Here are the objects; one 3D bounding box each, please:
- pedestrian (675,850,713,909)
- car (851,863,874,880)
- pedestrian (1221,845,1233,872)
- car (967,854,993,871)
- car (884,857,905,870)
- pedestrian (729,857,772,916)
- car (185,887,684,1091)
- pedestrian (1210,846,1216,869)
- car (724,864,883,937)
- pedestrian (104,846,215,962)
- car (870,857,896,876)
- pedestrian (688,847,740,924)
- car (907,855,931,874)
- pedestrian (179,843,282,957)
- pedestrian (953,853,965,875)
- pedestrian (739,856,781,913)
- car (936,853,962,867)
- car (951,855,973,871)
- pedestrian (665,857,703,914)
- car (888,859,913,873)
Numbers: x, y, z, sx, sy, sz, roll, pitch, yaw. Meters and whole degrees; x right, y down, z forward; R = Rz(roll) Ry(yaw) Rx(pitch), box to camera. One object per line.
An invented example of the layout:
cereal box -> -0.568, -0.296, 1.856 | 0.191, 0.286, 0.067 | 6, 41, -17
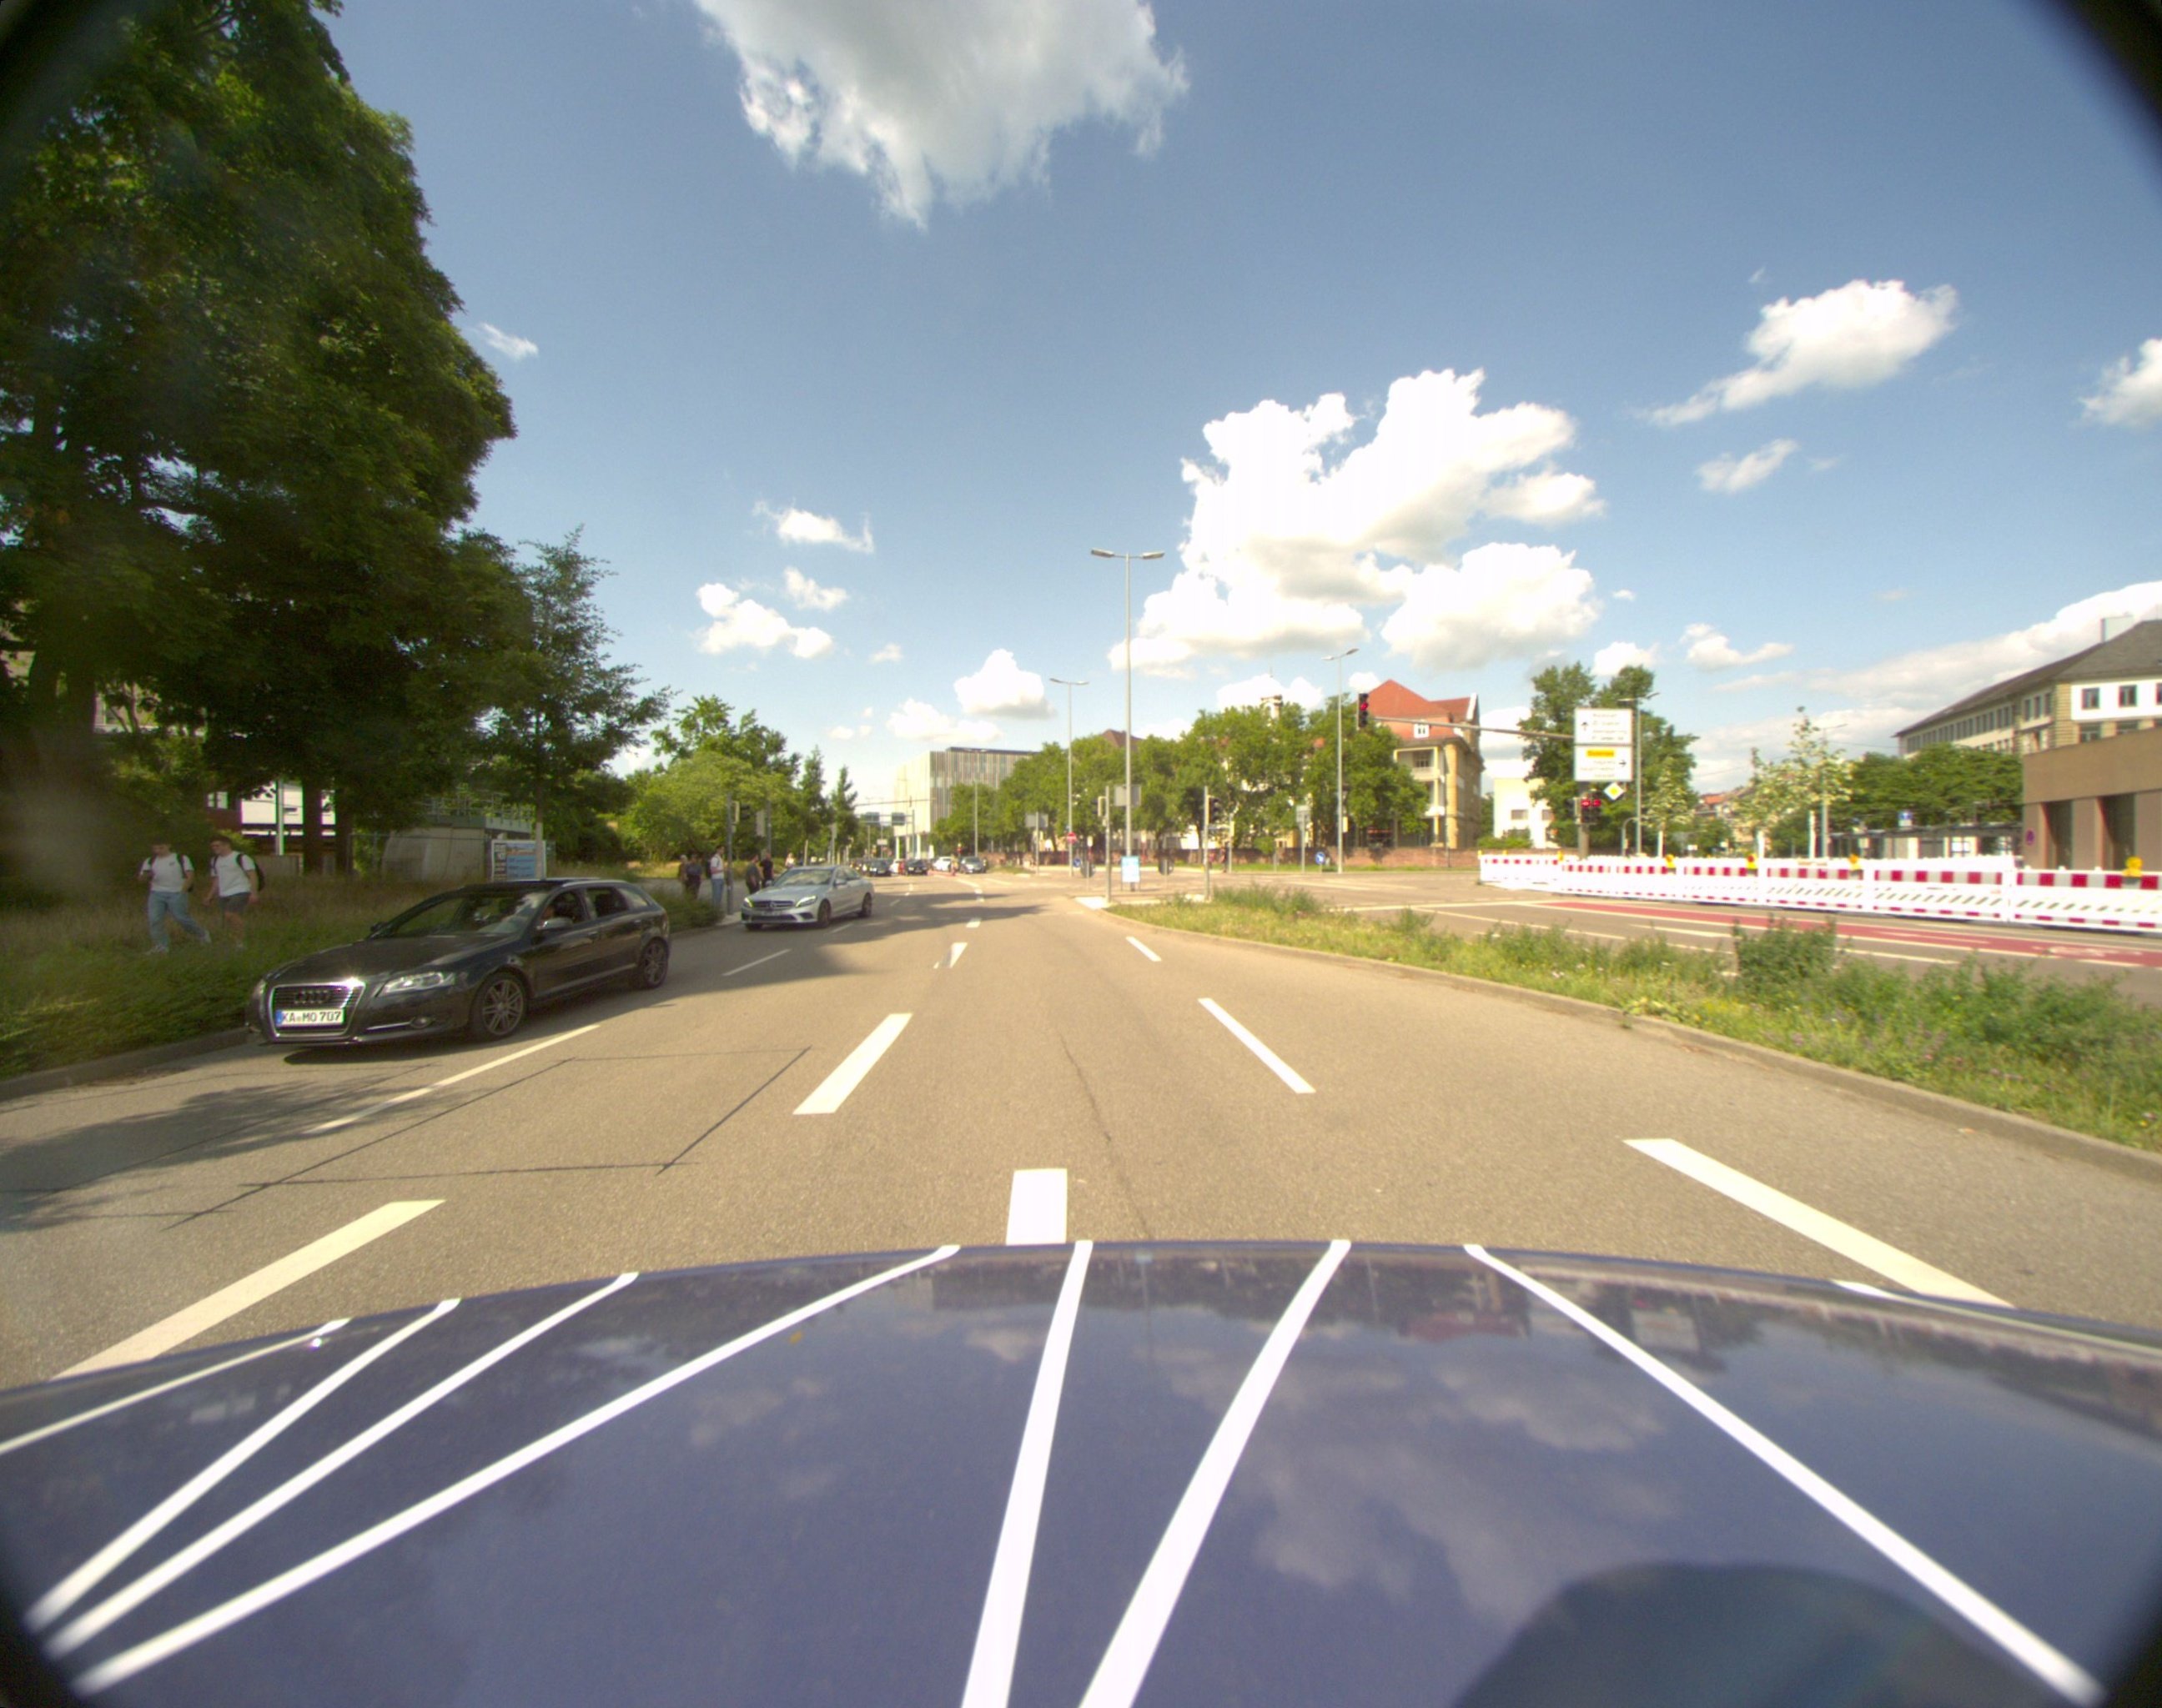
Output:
pedestrian -> -11.663, 0.751, 22.918 | 0.768, 1.725, 0.718 | -2, 1, -8
car -> -19.749, 1.565, 68.799 | 1.827, 1.454, 3.995 | -1, 0, -13
pedestrian -> 11.145, 0.347, 57.841 | 0.582, 1.982, 0.621 | -3, 1, -27
car -> -8.727, 0.706, 65.287 | 2.000, 1.368, 4.265 | -2, 1, -10
car -> -18.409, 0.929, 75.112 | 1.911, 1.127, 4.096 | -1, 2, -13
pedestrian -> -10.066, 0.971, 23.163 | 0.928, 1.725, 0.768 | -2, 1, -2
car -> -6.144, 1.146, 8.021 | 1.703, 1.364, 4.132 | -1, 0, 0
pedestrian -> 10.348, 0.282, 59.445 | 0.369, 1.722, 0.451 | -2, 1, 8
car -> -6.599, 1.033, 18.726 | 1.935, 1.447, 4.759 | -1, 1, 3
pedestrian -> -13.988, 0.731, 11.566 | 0.616, 1.690, 0.889 | 2, 1, -5
car -> -16.205, 0.964, 62.326 | 1.827, 1.454, 3.995 | -1, 0, -12
pedestrian -> -9.925, 0.838, 20.576 | 0.965, 2.002, 0.768 | -2, 1, -2
car -> -13.727, 0.869, 64.297 | 1.828, 1.454, 3.995 | -1, 0, -14
pedestrian -> -13.167, 0.687, 11.791 | 0.616, 1.690, 0.889 | 2, 1, -5
pedestrian -> -9.658, 0.770, 60.225 | 0.739, 1.704, 0.874 | -3, 1, -22
pedestrian -> -10.091, 0.943, 23.939 | 0.928, 1.725, 0.768 | -2, 1, -2
car -> -13.707, 0.637, 78.808 | 1.781, 1.346, 3.992 | -2, 1, -23
car -> -11.267, 0.844, 71.965 | 1.734, 1.327, 3.784 | -2, 1, -13
pedestrian -> -12.309, 0.965, 23.569 | 0.768, 1.725, 0.718 | -2, 1, -8
car -> -16.341, 1.056, 68.767 | 1.600, 1.127, 3.622 | -1, 0, -23
